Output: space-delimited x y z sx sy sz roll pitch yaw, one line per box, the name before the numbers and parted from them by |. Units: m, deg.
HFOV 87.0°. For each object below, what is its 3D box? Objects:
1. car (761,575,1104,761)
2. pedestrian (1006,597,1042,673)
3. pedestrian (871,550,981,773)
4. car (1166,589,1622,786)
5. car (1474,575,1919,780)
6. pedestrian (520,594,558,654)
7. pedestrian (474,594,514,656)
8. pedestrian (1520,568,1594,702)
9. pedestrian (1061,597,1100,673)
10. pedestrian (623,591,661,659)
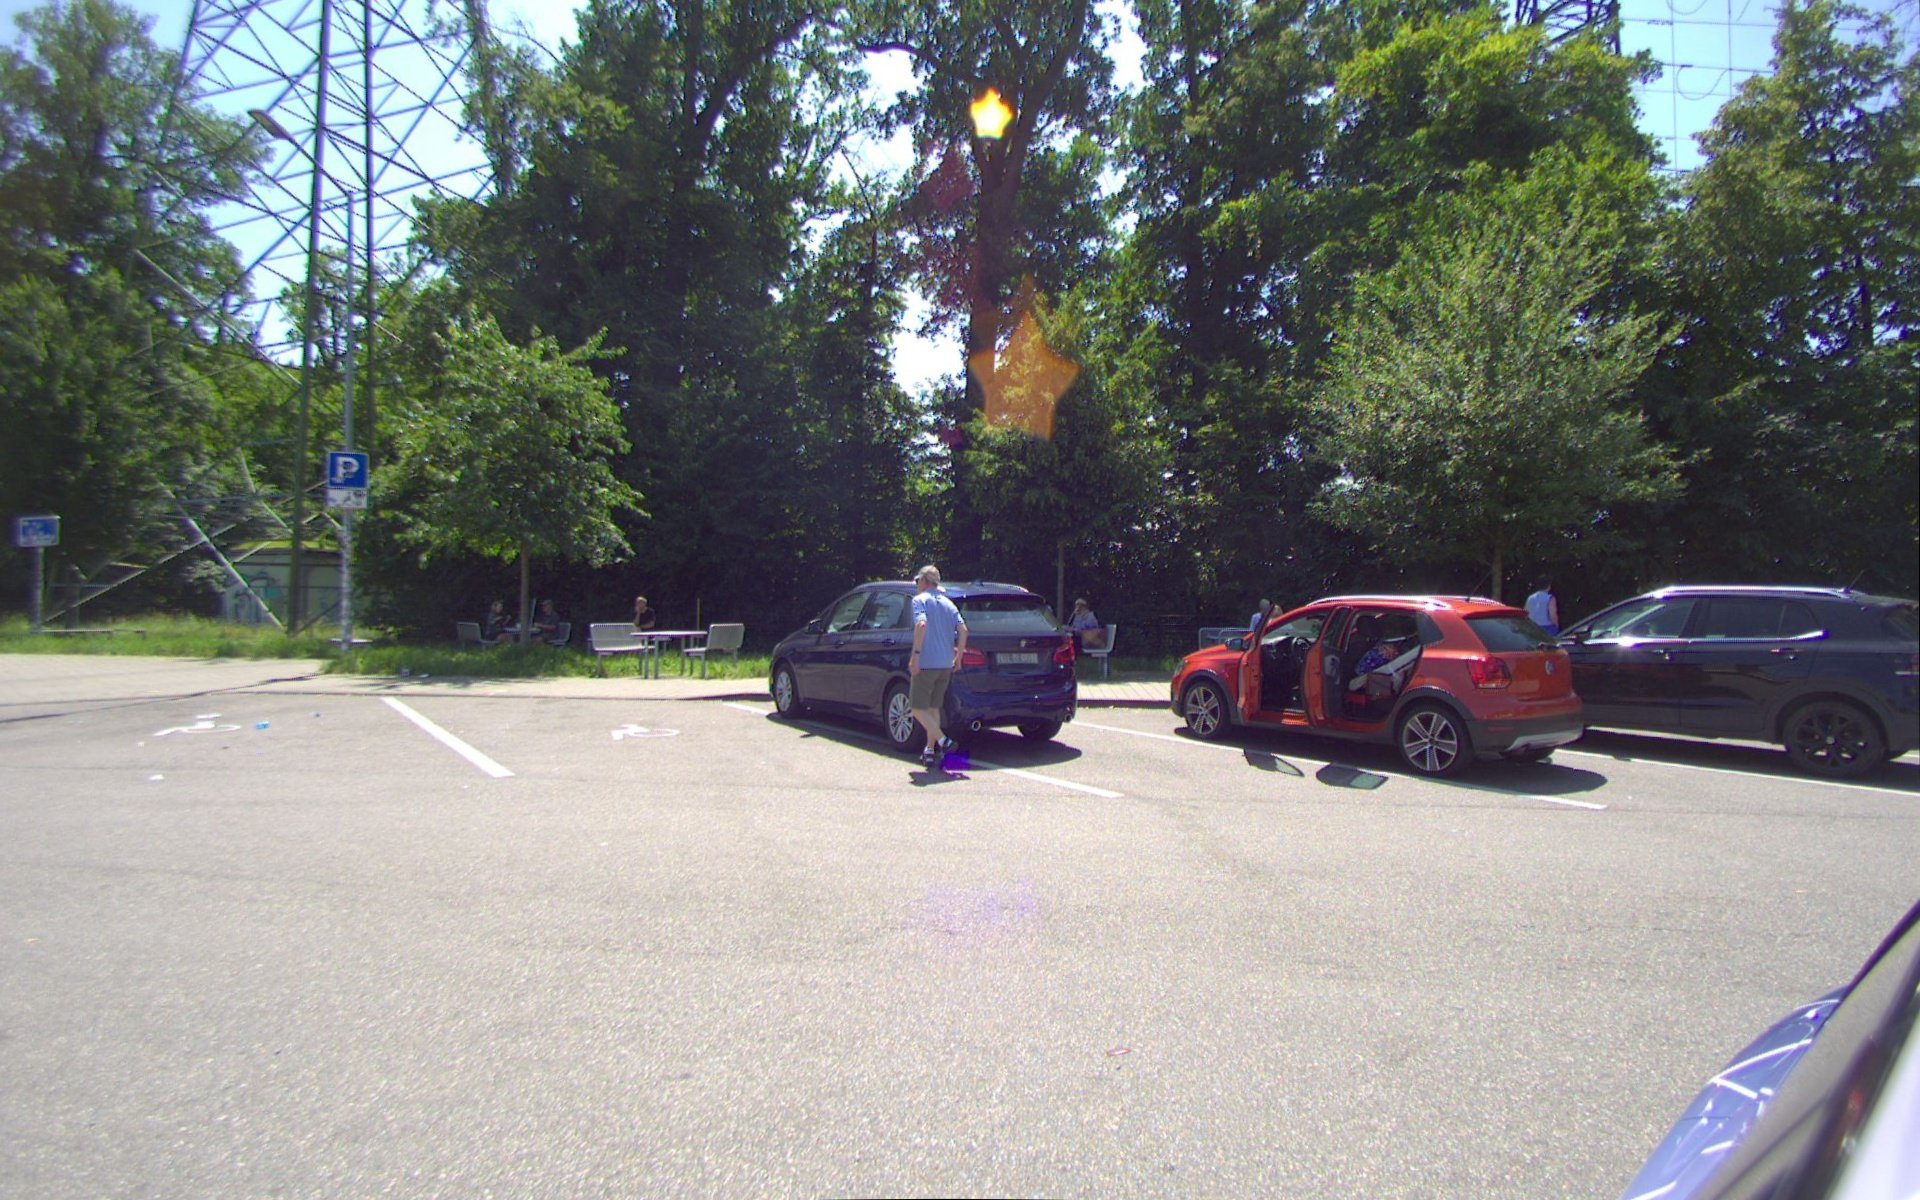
car | -0.482 0.555 10.661 1.776 1.562 3.940 1 0 -34
pedestrian | 1.070 0.584 17.076 0.576 1.251 0.697 0 -1 1
pedestrian | -0.297 0.484 8.494 0.662 1.754 0.835 1 0 -22
car | 3.856 0.643 9.588 1.559 1.467 3.737 1 0 -33
car | 7.221 0.594 9.703 1.707 1.607 3.732 1 0 -39
pedestrian | -9.759 0.544 23.473 0.687 1.352 0.563 0 0 -40
pedestrian | -10.516 0.554 22.835 0.687 1.352 0.563 0 0 -40
pedestrian | 8.576 0.484 14.549 0.510 1.854 0.766 0 0 -29
pedestrian | 2.017 0.580 17.010 0.576 1.251 0.697 0 -1 1
pedestrian | -6.687 0.520 21.312 0.553 1.408 0.700 0 0 2
